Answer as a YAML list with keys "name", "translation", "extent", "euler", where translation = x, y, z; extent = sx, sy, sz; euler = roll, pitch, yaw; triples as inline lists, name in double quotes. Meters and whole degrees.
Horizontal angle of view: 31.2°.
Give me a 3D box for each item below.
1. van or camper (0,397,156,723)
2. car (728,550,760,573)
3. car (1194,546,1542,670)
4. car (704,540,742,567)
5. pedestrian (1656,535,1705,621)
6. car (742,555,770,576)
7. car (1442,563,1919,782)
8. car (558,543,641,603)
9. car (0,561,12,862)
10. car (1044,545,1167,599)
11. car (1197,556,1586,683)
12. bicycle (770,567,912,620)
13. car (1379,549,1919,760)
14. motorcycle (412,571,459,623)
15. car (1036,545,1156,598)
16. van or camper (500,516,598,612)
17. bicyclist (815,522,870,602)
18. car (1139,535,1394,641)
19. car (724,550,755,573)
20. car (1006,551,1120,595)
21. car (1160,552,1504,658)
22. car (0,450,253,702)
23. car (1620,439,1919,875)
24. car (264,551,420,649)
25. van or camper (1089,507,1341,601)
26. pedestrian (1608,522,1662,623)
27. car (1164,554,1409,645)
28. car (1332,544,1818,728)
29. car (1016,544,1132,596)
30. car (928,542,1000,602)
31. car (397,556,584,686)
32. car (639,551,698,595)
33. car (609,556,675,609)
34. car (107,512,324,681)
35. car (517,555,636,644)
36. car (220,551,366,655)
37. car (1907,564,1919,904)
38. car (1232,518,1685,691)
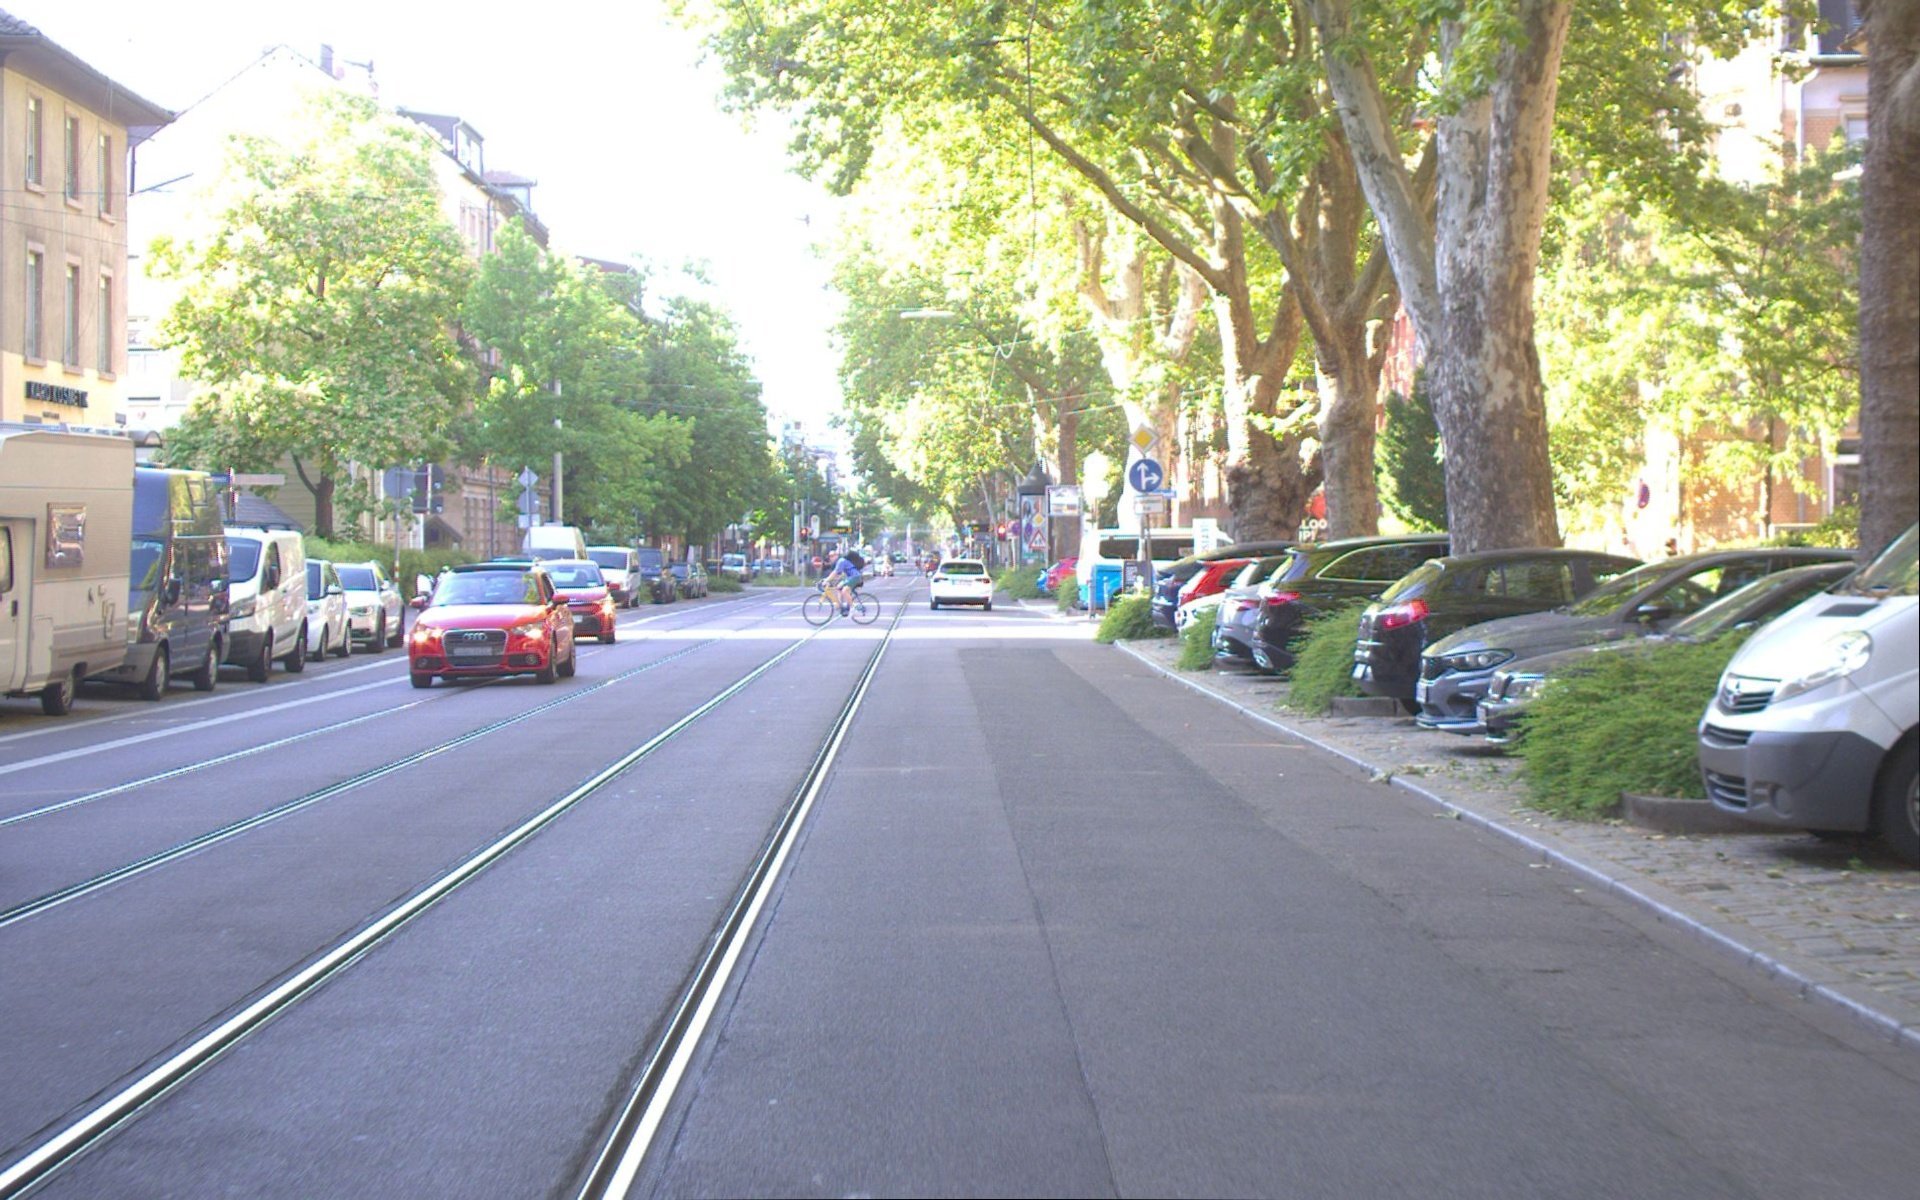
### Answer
- name: "van or camper"
  translation: [-10.046, -0.458, 34.356]
  extent: [2.337, 3.030, 6.397]
  euler: [3, 1, 0]
- name: "car"
  translation: [-14.049, -2.498, 223.840]
  extent: [1.918, 1.414, 3.591]
  euler: [-3, 0, -5]
- name: "car"
  translation: [5.052, 0.085, 42.964]
  extent: [4.142, 1.504, 1.796]
  euler: [0, 1, 0]
- name: "car"
  translation: [-12.903, -2.528, 187.363]
  extent: [1.918, 1.414, 3.721]
  euler: [0, 1, -2]
- name: "pedestrian"
  translation: [12.286, -0.378, 58.651]
  extent: [0.661, 1.450, 0.821]
  euler: [0, 1, 0]
- name: "car"
  translation: [-14.325, -2.432, 241.692]
  extent: [1.918, 1.414, 3.591]
  euler: [0, 1, -3]
- name: "car"
  translation: [5.458, 0.449, 22.602]
  extent: [4.397, 1.376, 1.804]
  euler: [0, 0, 4]
- name: "car"
  translation: [-11.364, -0.864, 108.646]
  extent: [2.173, 1.854, 4.659]
  euler: [0, 1, 0]
- name: "car"
  translation: [-5.517, 0.594, 14.695]
  extent: [1.775, 1.453, 4.203]
  euler: [-2, 1, -1]
- name: "car"
  translation: [4.836, -0.943, 114.535]
  extent: [3.987, 1.778, 2.000]
  euler: [0, 1, 0]
- name: "car"
  translation: [5.033, 0.214, 40.502]
  extent: [4.295, 1.434, 1.948]
  euler: [0, 1, -1]
- name: "bicycle"
  translation: [-2.560, -0.151, 73.825]
  extent: [2.947, 1.101, 1.052]
  euler: [-1, 1, -9]
- name: "car"
  translation: [5.351, 0.374, 25.482]
  extent: [4.247, 1.478, 1.898]
  euler: [0, 1, 0]
- name: "motorcycle"
  translation: [-12.296, -0.087, 80.629]
  extent: [0.763, 1.103, 2.330]
  euler: [0, 3, 0]
- name: "car"
  translation: [4.596, -0.969, 116.818]
  extent: [3.987, 1.778, 2.000]
  euler: [0, 1, 0]
- name: "van or camper"
  translation: [-11.193, -0.997, 93.966]
  extent: [2.079, 2.524, 5.318]
  euler: [0, 1, 0]
- name: "bicyclist"
  translation: [-2.527, -0.817, 73.823]
  extent: [1.045, 1.700, 1.058]
  euler: [0, 1, -10]
- name: "car"
  translation: [4.961, -0.207, 55.982]
  extent: [3.923, 1.664, 1.961]
  euler: [0, 1, -2]
- name: "car"
  translation: [-14.068, -2.453, 219.594]
  extent: [1.918, 1.414, 3.591]
  euler: [0, 1, -3]
- name: "car"
  translation: [3.637, -0.957, 122.389]
  extent: [3.987, 1.515, 2.000]
  euler: [0, 1, 0]
- name: "car"
  translation: [5.242, 0.057, 48.893]
  extent: [4.686, 1.441, 1.892]
  euler: [0, 1, 0]
- name: "car"
  translation: [-10.056, -0.322, 40.973]
  extent: [2.086, 2.722, 5.310]
  euler: [3, 1, -1]
- name: "car"
  translation: [5.824, 0.230, 16.576]
  extent: [4.835, 1.956, 2.065]
  euler: [0, 1, -2]
- name: "car"
  translation: [-10.292, -0.028, 57.578]
  extent: [1.836, 1.463, 5.070]
  euler: [3, 1, -3]
- name: "van or camper"
  translation: [5.896, -1.090, 79.909]
  extent: [5.554, 2.006, 2.245]
  euler: [-1, 3, -5]
- name: "pedestrian"
  translation: [11.706, -0.479, 59.663]
  extent: [0.760, 1.733, 0.821]
  euler: [0, 1, 0]
- name: "car"
  translation: [5.069, -0.023, 53.761]
  extent: [3.650, 1.373, 1.890]
  euler: [0, 1, 0]
- name: "car"
  translation: [5.200, 0.286, 29.389]
  extent: [3.838, 1.504, 1.711]
  euler: [0, 1, 0]
- name: "car"
  translation: [3.970, -1.046, 120.081]
  extent: [3.987, 1.778, 2.000]
  euler: [0, 1, 0]
- name: "car"
  translation: [0.086, -0.797, 96.338]
  extent: [1.918, 1.579, 3.791]
  euler: [-2, 1, -1]
- name: "car"
  translation: [-5.635, 0.217, 41.644]
  extent: [1.723, 1.432, 4.069]
  euler: [-2, 1, -1]
- name: "car"
  translation: [-11.765, -1.110, 138.986]
  extent: [1.993, 1.739, 4.659]
  euler: [0, 1, 0]
- name: "car"
  translation: [-11.346, -0.652, 123.065]
  extent: [1.993, 1.854, 4.179]
  euler: [0, 1, 0]
- name: "car"
  translation: [-10.098, -0.113, 47.034]
  extent: [1.952, 2.084, 5.249]
  euler: [3, 1, -3]
- name: "car"
  translation: [-6.770, -0.031, 61.002]
  extent: [1.663, 1.474, 3.951]
  euler: [-2, 1, -1]
- name: "car"
  translation: [-10.273, 0.023, 53.098]
  extent: [1.572, 1.521, 3.040]
  euler: [1, 1, 1]
- name: "car"
  translation: [5.864, 0.568, 13.990]
  extent: [3.526, 1.441, 1.673]
  euler: [0, 1, -3]
- name: "car"
  translation: [5.144, 0.036, 36.021]
  extent: [4.497, 1.596, 2.027]
  euler: [-2, 1, 4]
